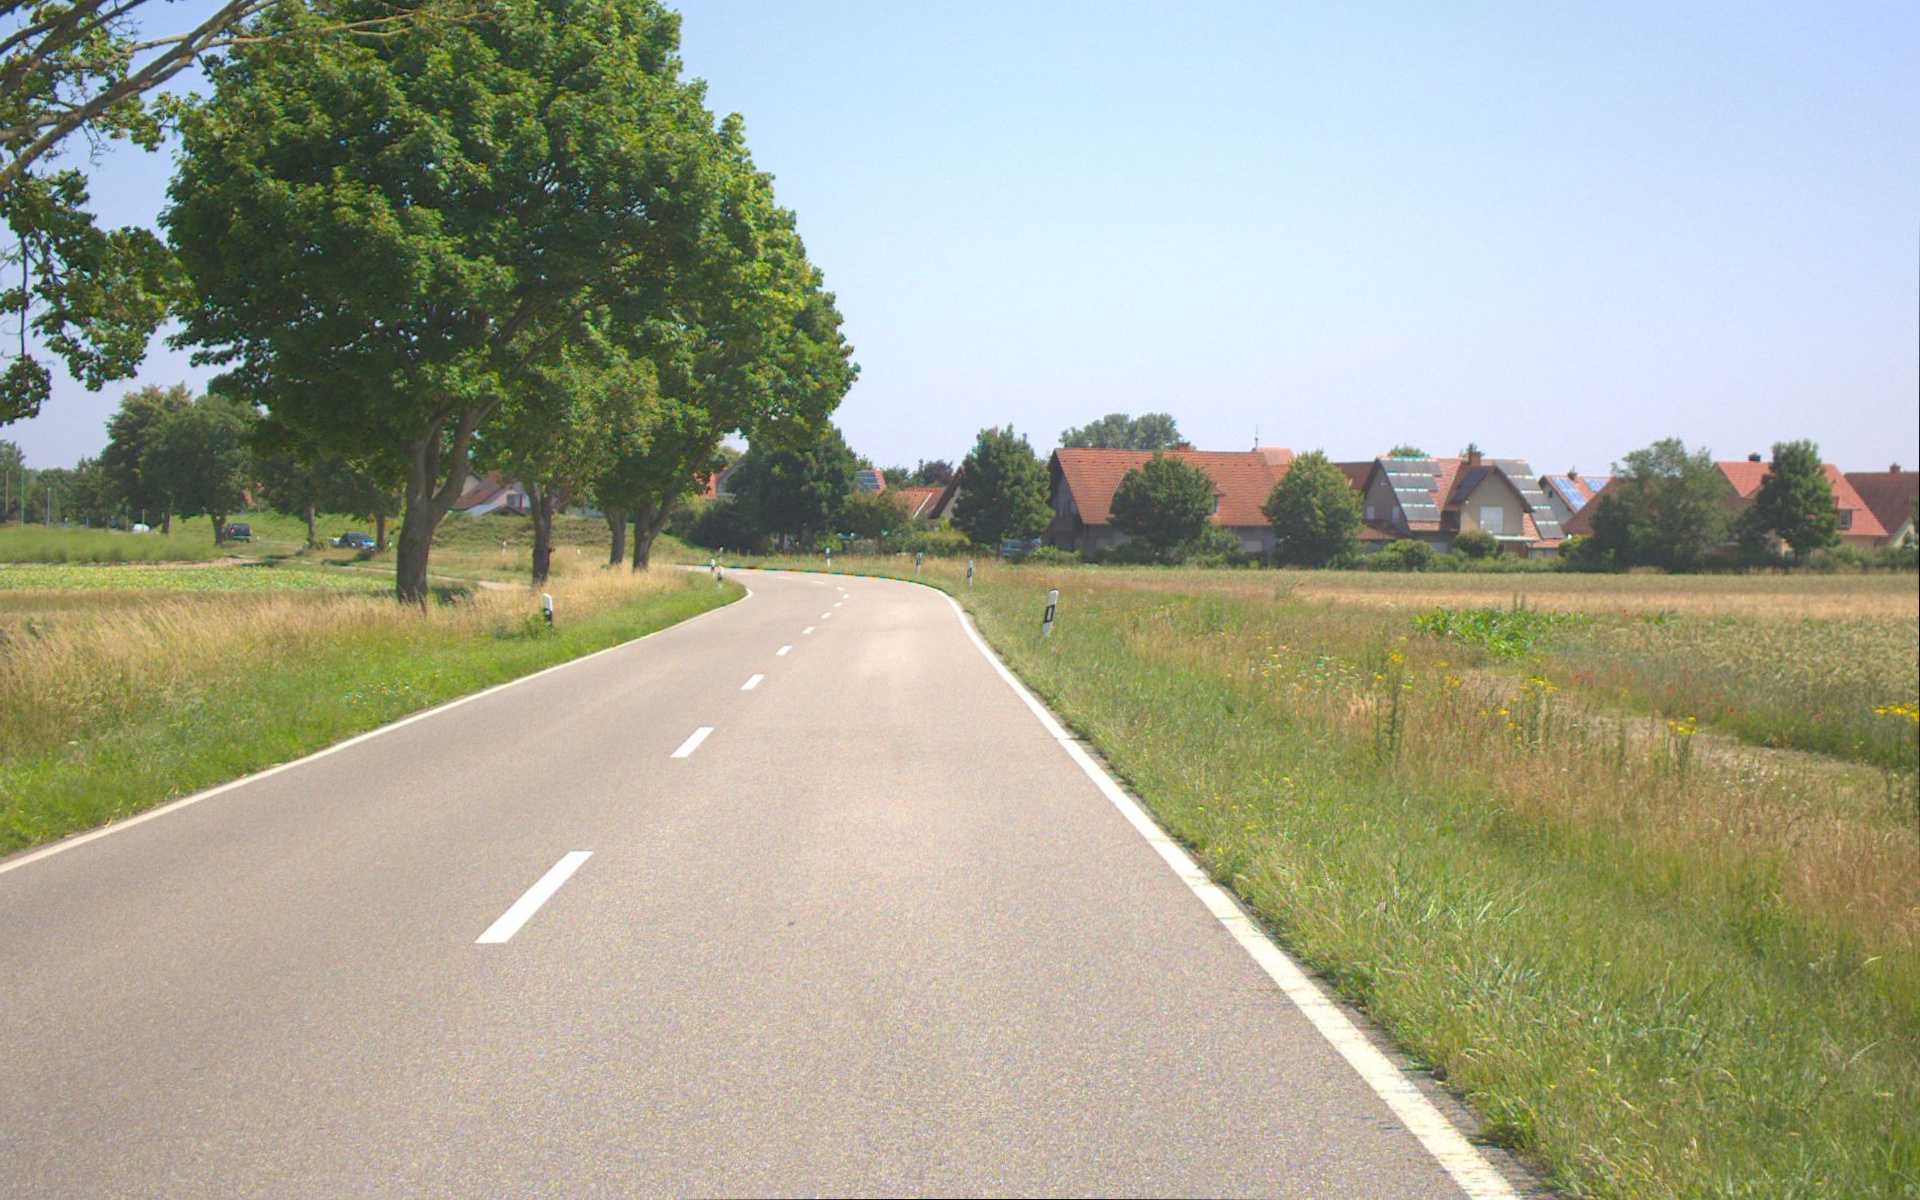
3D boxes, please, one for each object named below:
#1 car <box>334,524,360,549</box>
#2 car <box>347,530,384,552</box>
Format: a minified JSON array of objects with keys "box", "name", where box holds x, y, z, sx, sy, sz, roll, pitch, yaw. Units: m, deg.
[{"box":[-42.707,-4.445,239.455,1.595,1.663,3.416,2,1,-12],"name":"car"},{"box":[-40.447,-3.981,233.887,1.643,1.424,4.181,-3,2,-20],"name":"car"}]
